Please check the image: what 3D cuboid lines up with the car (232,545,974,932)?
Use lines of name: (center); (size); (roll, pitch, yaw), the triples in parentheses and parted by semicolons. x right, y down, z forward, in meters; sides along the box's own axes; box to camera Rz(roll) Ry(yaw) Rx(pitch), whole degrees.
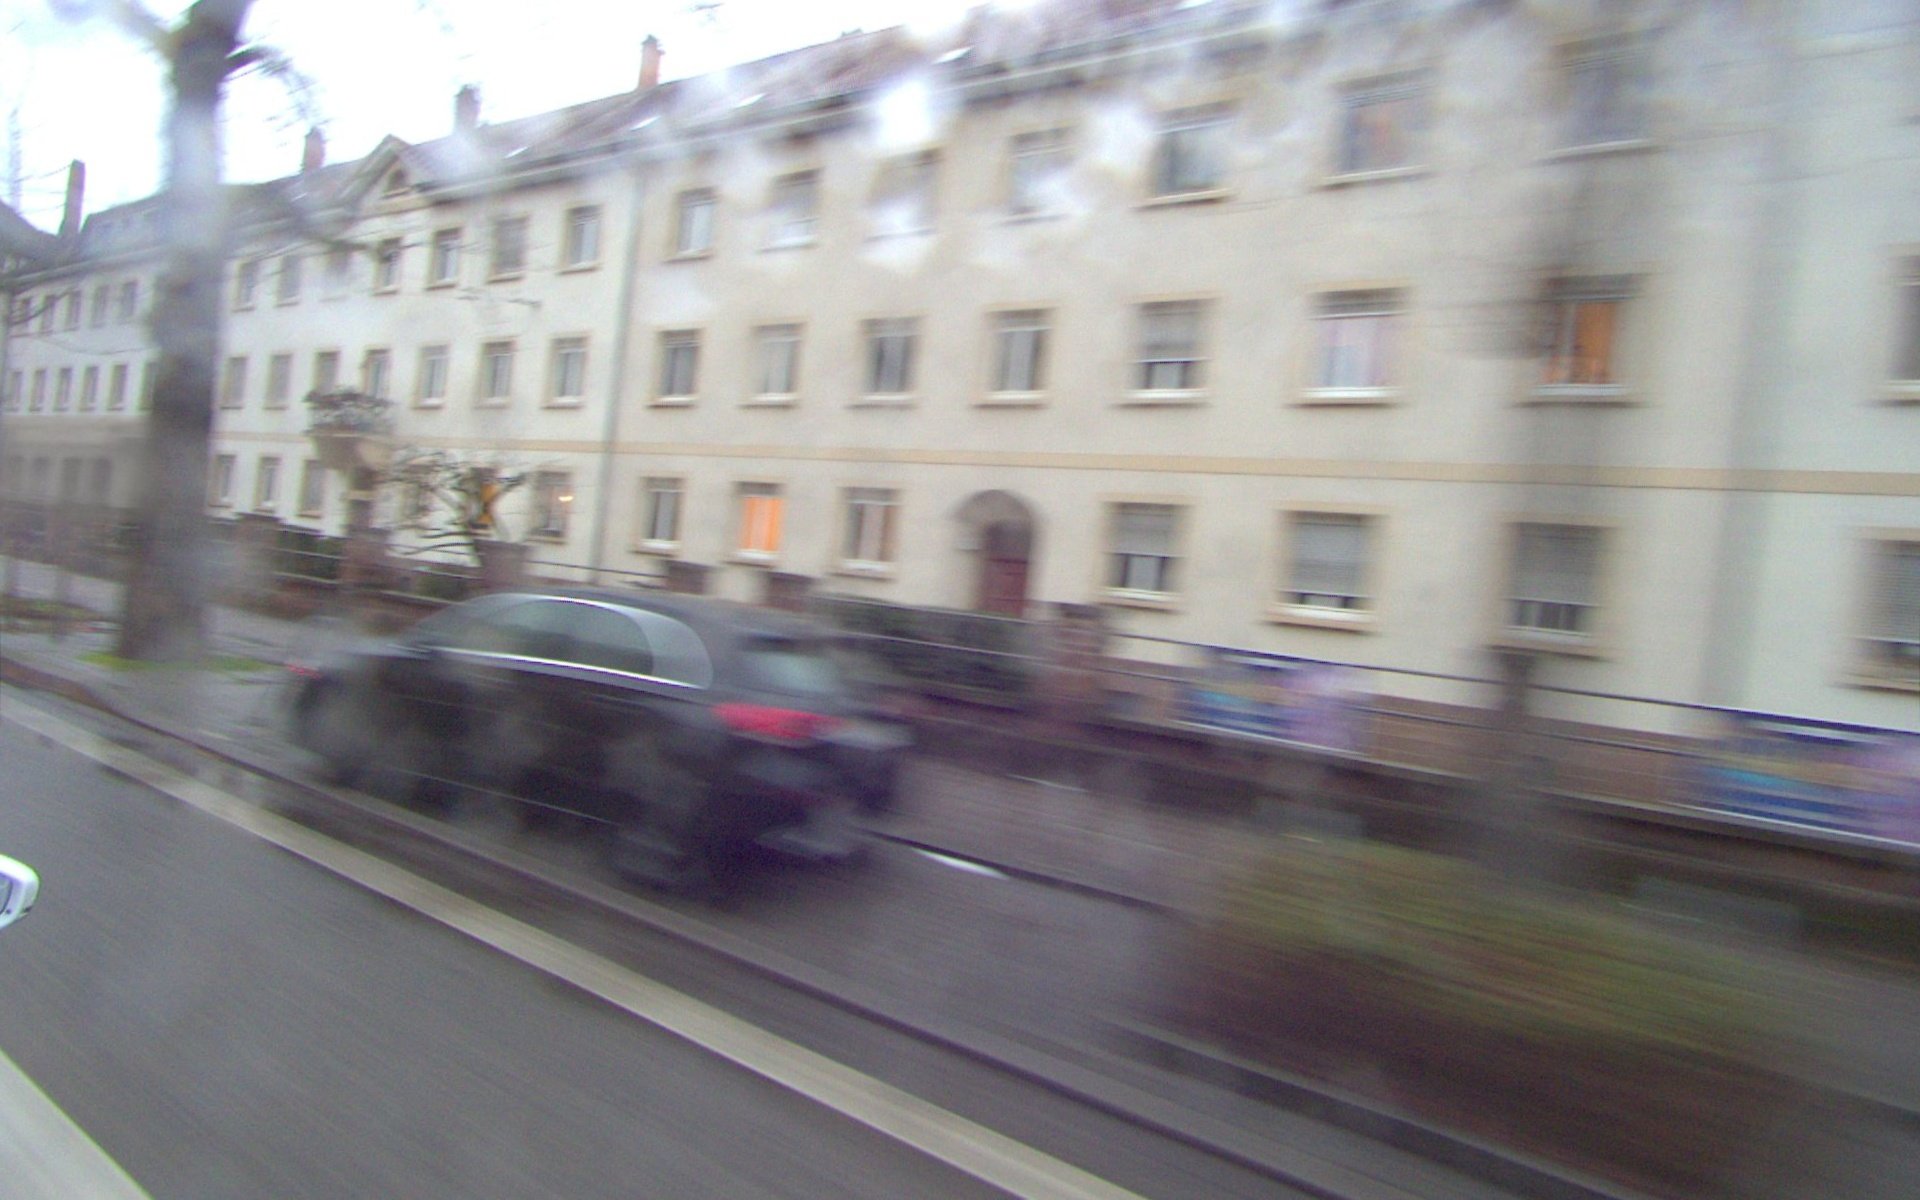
car: (-2.294, 0.631, 6.340); (4.267, 1.437, 1.883); (6, 0, 27)
